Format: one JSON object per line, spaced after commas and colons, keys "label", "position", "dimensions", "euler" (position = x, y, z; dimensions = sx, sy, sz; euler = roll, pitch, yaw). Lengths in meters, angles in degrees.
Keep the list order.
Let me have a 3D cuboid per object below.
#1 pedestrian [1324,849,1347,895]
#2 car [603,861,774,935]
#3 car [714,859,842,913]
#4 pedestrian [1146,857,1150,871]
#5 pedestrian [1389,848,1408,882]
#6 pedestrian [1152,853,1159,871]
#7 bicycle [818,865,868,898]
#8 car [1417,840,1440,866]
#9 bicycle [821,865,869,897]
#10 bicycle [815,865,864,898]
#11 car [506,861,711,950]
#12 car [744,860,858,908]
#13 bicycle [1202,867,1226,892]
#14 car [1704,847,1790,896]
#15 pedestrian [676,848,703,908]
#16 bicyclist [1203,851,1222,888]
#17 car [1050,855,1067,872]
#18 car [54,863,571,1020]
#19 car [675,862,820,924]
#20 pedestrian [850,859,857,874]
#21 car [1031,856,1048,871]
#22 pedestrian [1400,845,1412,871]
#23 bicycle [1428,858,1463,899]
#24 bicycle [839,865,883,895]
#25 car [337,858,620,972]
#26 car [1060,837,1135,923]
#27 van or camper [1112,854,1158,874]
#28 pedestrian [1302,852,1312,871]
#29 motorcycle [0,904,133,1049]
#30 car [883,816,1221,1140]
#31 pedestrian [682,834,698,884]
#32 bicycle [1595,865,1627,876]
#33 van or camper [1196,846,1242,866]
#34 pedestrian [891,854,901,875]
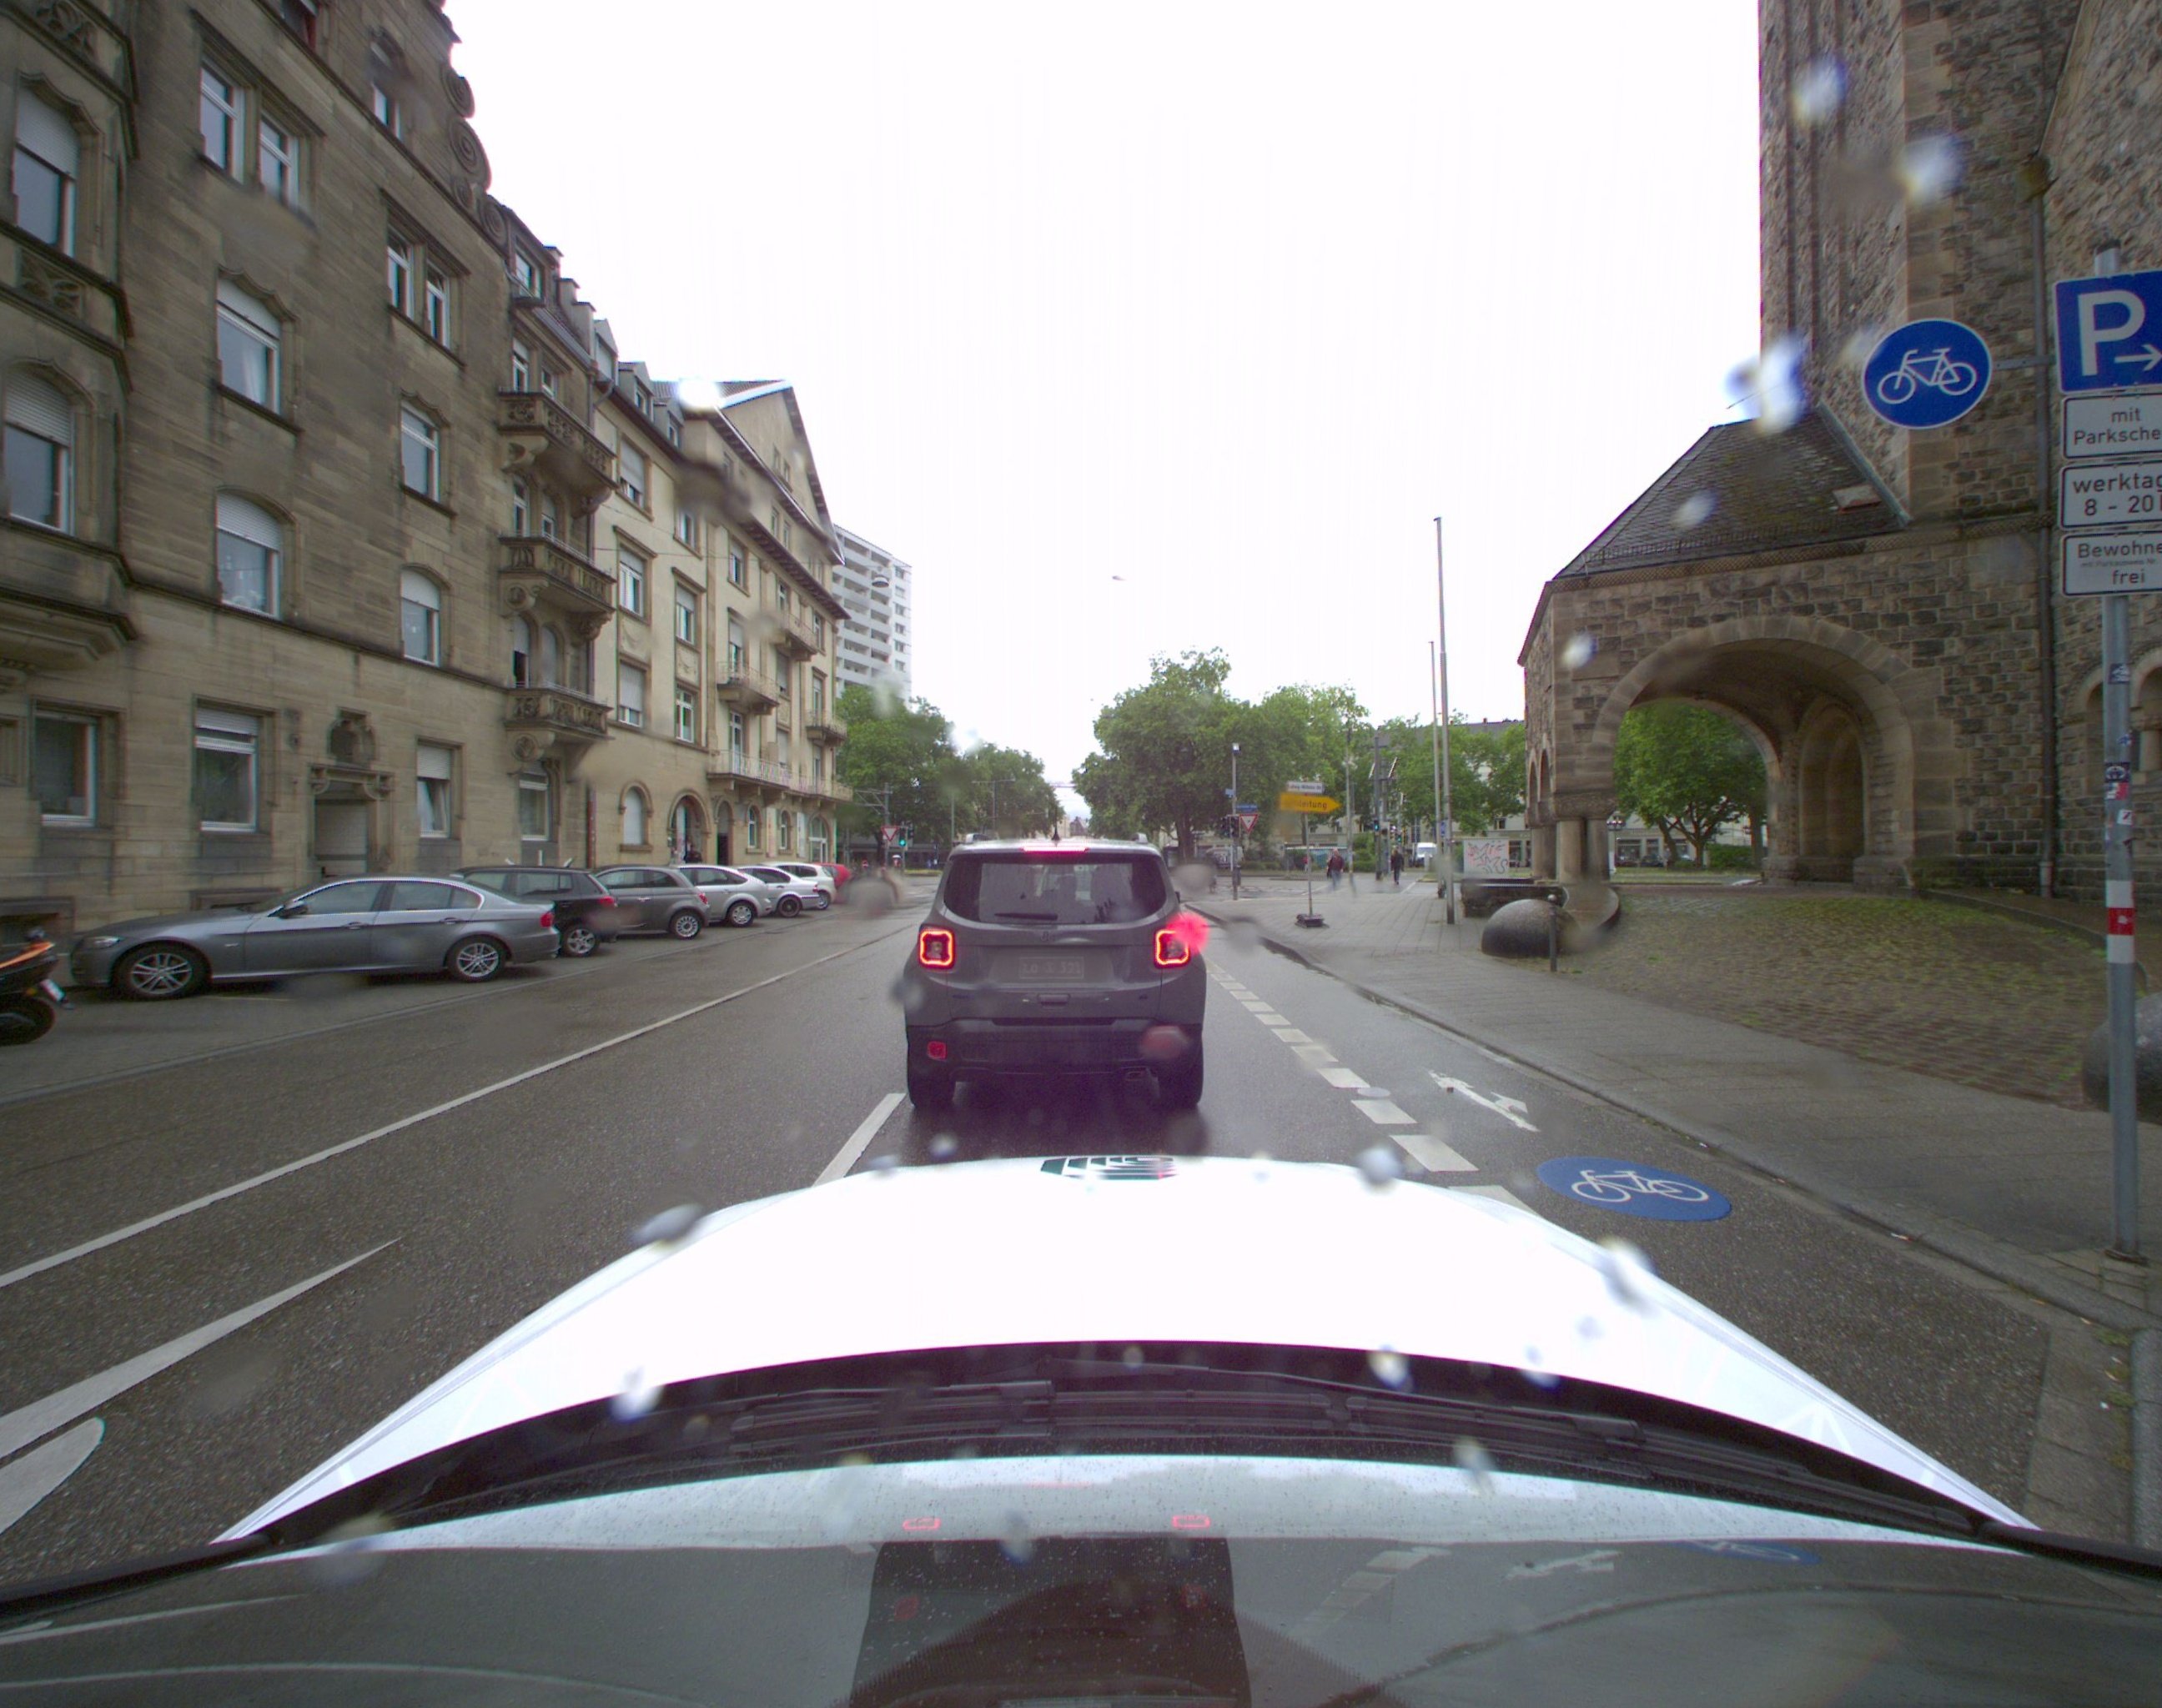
{"label": "pedestrian", "position": [9.887, 0.693, 31.666], "dimensions": [0.780, 1.759, 0.949], "euler": [-2, -1, 16]}
{"label": "car", "position": [-9.391, 0.983, 19.569], "dimensions": [3.419, 1.558, 1.686], "euler": [-1, 0, -38]}
{"label": "car", "position": [-9.511, 0.961, 25.617], "dimensions": [3.419, 1.558, 1.686], "euler": [-1, 0, -38]}
{"label": "pedestrian", "position": [8.260, 1.238, 101.084], "dimensions": [0.456, 1.704, 0.424], "euler": [-1, -1, 2]}
{"label": "pedestrian", "position": [15.627, 0.518, 40.076], "dimensions": [0.775, 1.645, 0.659], "euler": [-2, -1, 25]}
{"label": "pedestrian", "position": [8.503, 0.903, 92.608], "dimensions": [0.646, 2.014, 0.484], "euler": [-1, -1, 14]}
{"label": "bicycle", "position": [-9.598, 1.093, 32.869], "dimensions": [1.804, 1.266, 0.498], "euler": [-1, -1, -1]}
{"label": "car", "position": [35.506, -0.147, 83.189], "dimensions": [1.889, 2.555, 4.815], "euler": [-1, 0, 25]}
{"label": "bicycle", "position": [-9.709, 1.106, 33.555], "dimensions": [1.804, 1.266, 0.498], "euler": [-1, -1, -1]}
{"label": "bicycle", "position": [-9.595, 1.099, 32.322], "dimensions": [1.758, 1.266, 0.522], "euler": [-1, -1, -1]}
{"label": "car", "position": [-9.539, 0.957, 16.542], "dimensions": [3.419, 1.558, 1.634], "euler": [-1, 0, -38]}
{"label": "car", "position": [-9.769, 1.000, 28.492], "dimensions": [3.419, 1.558, 1.686], "euler": [-1, 0, -38]}
{"label": "bicycle", "position": [6.046, 1.137, 36.904], "dimensions": [0.686, 1.021, 2.670], "euler": [-2, 0, 17]}
{"label": "car", "position": [21.468, 0.541, 26.360], "dimensions": [1.389, 1.479, 3.239], "euler": [-1, 0, 25]}
{"label": "pedestrian", "position": [-13.425, 0.813, 27.914], "dimensions": [0.565, 2.014, 0.655], "euler": [-1, -1, 1]}
{"label": "bicyclist", "position": [5.931, 0.688, 36.771], "dimensions": [0.681, 1.617, 0.888], "euler": [-2, 0, 17]}
{"label": "car", "position": [-2.395, 0.957, 84.781], "dimensions": [1.717, 1.739, 3.726], "euler": [-1, 0, -2]}
{"label": "car", "position": [-9.412, 0.928, 10.528], "dimensions": [4.573, 1.545, 1.668], "euler": [-1, 0, -42]}
{"label": "car", "position": [-9.286, 1.017, 22.752], "dimensions": [3.419, 1.558, 1.686], "euler": [-1, 0, -38]}
{"label": "pedestrian", "position": [-23.320, 1.304, 83.472], "dimensions": [0.438, 1.530, 0.647], "euler": [-1, -1, 27]}
{"label": "car", "position": [-4.648, 1.069, 90.796], "dimensions": [1.810, 1.670, 3.916], "euler": [-1, 0, -3]}
{"label": "pedestrian", "position": [25.975, 0.307, 65.088], "dimensions": [0.798, 2.014, 0.593], "euler": [-1, -1, 28]}
{"label": "bicycle", "position": [11.003, 0.718, 24.638], "dimensions": [0.327, 1.154, 2.079], "euler": [-1, 0, 7]}
{"label": "bicycle", "position": [-9.570, 1.140, 35.461], "dimensions": [1.758, 1.266, 0.608], "euler": [-1, -1, -1]}
{"label": "car", "position": [-9.782, 0.899, 13.458], "dimensions": [3.571, 1.598, 1.587], "euler": [-1, 0, -38]}
{"label": "car", "position": [0.441, 0.624, 21.412], "dimensions": [1.764, 2.013, 4.001], "euler": [-1, 0, 1]}
{"label": "van or camper", "position": [8.206, 1.479, 124.746], "dimensions": [6.466, 2.912, 2.509], "euler": [-1, 0, 26]}
{"label": "pedestrian", "position": [18.983, 0.616, 68.350], "dimensions": [0.667, 1.554, 0.766], "euler": [-1, -2, 29]}
{"label": "motorcycle", "position": [-9.409, 1.018, 6.752], "dimensions": [1.880, 1.162, 0.627], "euler": [2, -2, -36]}
{"label": "car", "position": [-0.130, 0.668, 6.296], "dimensions": [1.769, 1.687, 3.848], "euler": [-2, 0, 1]}
{"label": "pedestrian", "position": [-14.422, 0.193, 30.043], "dimensions": [0.365, 1.823, 0.347], "euler": [-2, -1, -1]}
{"label": "bicycle", "position": [36.041, 1.104, 55.401], "dimensions": [1.683, 0.719, 0.656], "euler": [-1, 0, 22]}
{"label": "van or camper", "position": [15.992, 0.240, 94.592], "dimensions": [5.234, 2.315, 2.093], "euler": [0, 0, 5]}
{"label": "pedestrian", "position": [-16.704, 0.931, 73.602], "dimensions": [0.614, 1.826, 0.697], "euler": [-1, -1, 15]}
